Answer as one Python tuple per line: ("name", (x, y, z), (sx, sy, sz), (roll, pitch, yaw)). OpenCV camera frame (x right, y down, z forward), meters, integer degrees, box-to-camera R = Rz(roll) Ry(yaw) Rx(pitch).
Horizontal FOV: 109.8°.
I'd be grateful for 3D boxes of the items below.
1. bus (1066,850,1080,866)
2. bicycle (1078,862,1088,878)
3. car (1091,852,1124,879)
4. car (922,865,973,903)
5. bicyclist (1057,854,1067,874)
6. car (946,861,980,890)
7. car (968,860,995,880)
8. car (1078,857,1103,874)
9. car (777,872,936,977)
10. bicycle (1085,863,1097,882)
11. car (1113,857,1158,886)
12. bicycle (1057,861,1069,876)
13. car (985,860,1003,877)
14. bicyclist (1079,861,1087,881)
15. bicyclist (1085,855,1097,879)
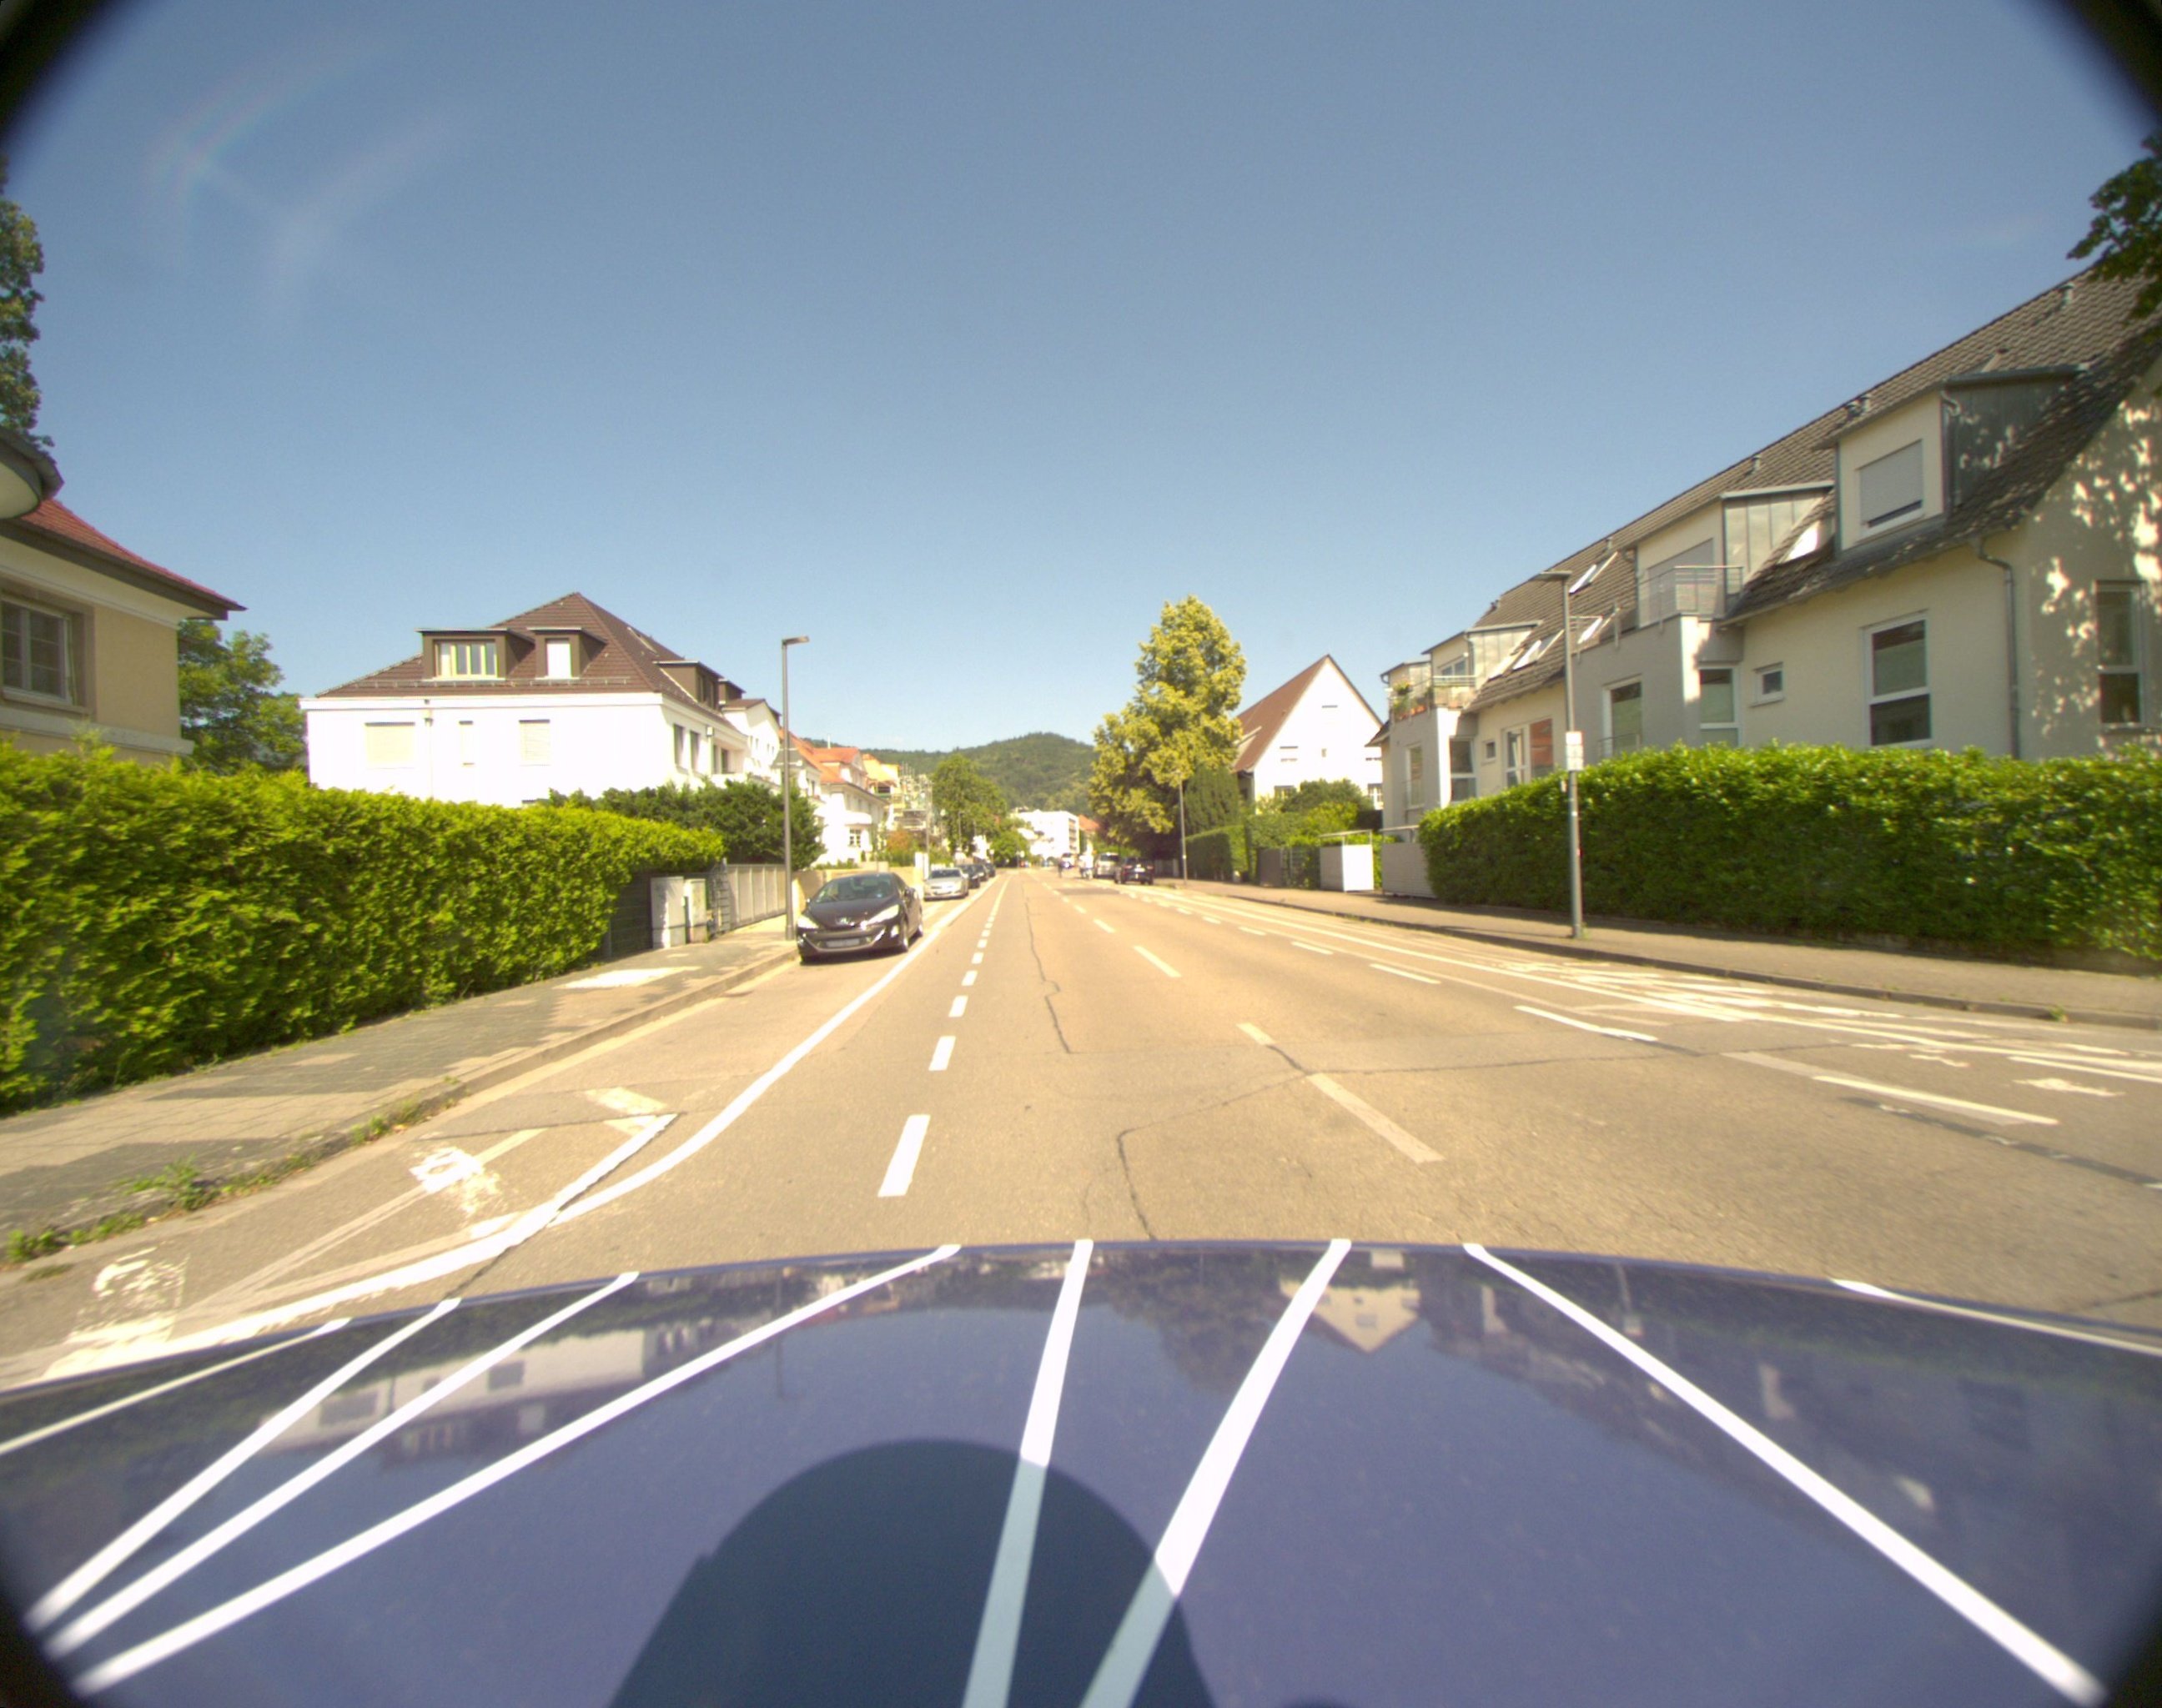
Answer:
("bus", (-1.702, 0.866, 152.846), (2.752, 3.155, 9.778), (0, -1, -1))
("bicycle", (0.170, 1.181, 56.158), (0.602, 1.098, 1.346), (1, 0, -5))
("car", (1.941, 0.842, 57.645), (1.890, 1.908, 4.866), (0, 0, -6))
("car", (-5.733, 1.258, 33.100), (1.742, 1.321, 4.074), (-4, 1, -5))
("bicyclist", (-1.593, 0.811, 62.410), (0.751, 1.658, 1.021), (1, 0, -5))
("car", (-6.954, 1.236, 45.028), (1.727, 1.440, 4.166), (-5, 0, -7))
("car", (-7.988, 1.267, 61.364), (1.623, 1.440, 4.000), (-2, 0, 0))
("car", (0.819, 0.999, 67.710), (1.839, 1.477, 4.560), (0, 0, -5))
("car", (-3.960, 1.174, 14.211), (1.741, 1.459, 4.344), (-5, -1, -3))
("bicycle", (0.657, 1.226, 50.867), (0.561, 1.178, 2.035), (0, 0, -5))
("car", (3.121, 1.006, 44.352), (1.856, 1.601, 4.446), (0, 0, -6))
("bicycle", (-1.475, 1.165, 61.512), (0.785, 1.159, 2.419), (1, 0, -5))
("car", (-8.649, 1.374, 75.214), (1.702, 1.573, 4.898), (-2, 0, -8))
("bicyclist", (0.166, 1.222, 56.134), (0.492, 1.445, 0.964), (1, 0, -5))
("bicyclist", (0.657, 0.860, 51.326), (0.678, 1.571, 0.859), (3, 0, -5))
